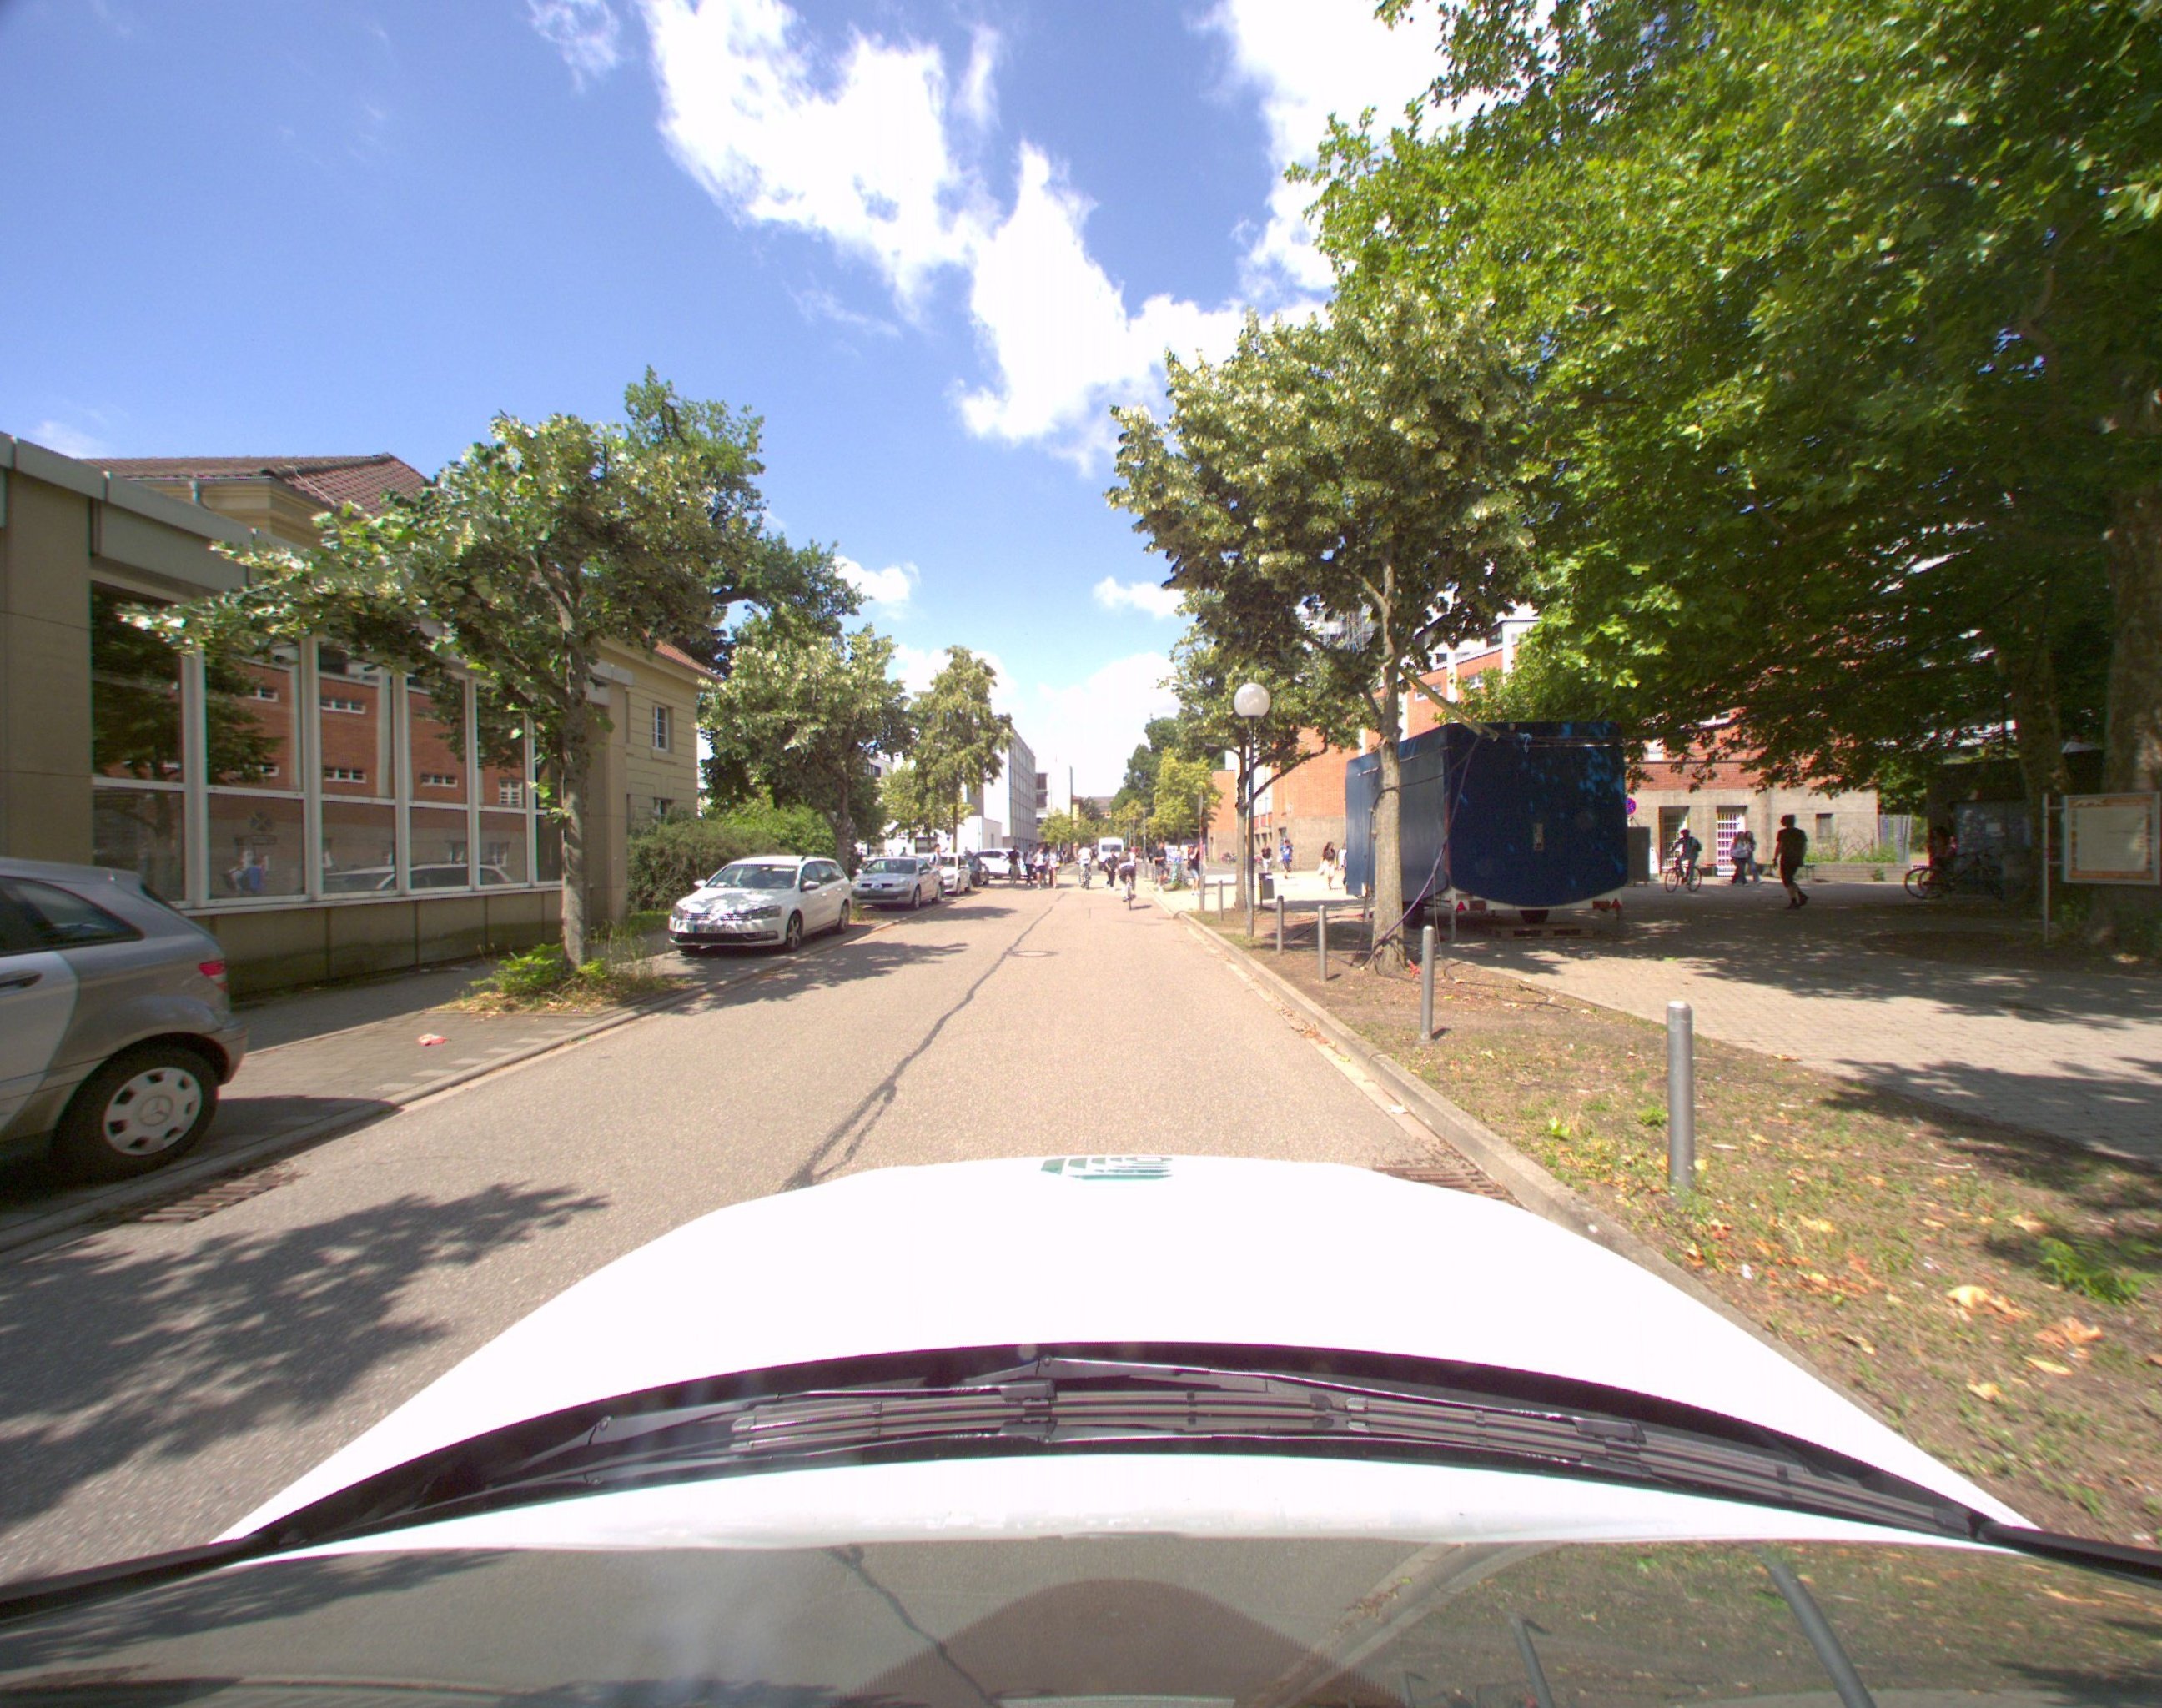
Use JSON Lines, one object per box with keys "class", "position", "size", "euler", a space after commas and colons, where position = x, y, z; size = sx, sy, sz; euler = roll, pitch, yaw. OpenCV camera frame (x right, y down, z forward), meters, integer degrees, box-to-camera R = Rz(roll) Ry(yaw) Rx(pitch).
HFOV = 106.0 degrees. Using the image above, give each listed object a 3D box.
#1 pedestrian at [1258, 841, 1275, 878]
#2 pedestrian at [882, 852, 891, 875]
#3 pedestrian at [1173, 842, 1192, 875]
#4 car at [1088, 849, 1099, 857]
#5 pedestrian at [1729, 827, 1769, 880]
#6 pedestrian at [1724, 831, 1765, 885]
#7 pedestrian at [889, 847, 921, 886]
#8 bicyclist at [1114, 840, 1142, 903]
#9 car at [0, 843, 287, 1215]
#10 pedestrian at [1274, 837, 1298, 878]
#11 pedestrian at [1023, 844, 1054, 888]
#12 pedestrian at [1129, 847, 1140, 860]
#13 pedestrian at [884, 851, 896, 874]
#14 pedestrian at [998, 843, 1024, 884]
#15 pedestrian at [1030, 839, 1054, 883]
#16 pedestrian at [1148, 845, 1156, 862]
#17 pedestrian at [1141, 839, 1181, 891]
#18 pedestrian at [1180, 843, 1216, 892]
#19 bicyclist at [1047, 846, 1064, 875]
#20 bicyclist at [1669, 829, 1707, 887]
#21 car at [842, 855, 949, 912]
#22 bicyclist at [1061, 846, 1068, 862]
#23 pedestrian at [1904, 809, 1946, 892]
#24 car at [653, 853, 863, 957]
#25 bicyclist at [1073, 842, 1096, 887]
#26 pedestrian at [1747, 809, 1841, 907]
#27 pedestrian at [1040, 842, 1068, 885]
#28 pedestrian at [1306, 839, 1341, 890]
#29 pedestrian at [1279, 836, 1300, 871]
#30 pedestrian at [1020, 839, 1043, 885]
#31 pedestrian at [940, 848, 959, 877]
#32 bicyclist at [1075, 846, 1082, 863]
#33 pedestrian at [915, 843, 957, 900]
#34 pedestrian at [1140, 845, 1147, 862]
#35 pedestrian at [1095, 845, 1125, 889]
{"class": "pedestrian", "position": [8.403, 0.248, 36.886], "size": [0.501, 1.630, 0.569], "euler": [-4, 1, -10]}
{"class": "pedestrian", "position": [-14.805, 0.702, 62.022], "size": [0.549, 1.764, 0.586], "euler": [0, 0, 2]}
{"class": "pedestrian", "position": [5.368, 0.242, 43.092], "size": [0.701, 1.694, 0.960], "euler": [-3, 2, -5]}
{"class": "car", "position": [2.523, -0.287, 165.979], "size": [1.786, 1.530, 4.006], "euler": [-1, 0, 6]}
{"class": "pedestrian", "position": [21.013, -0.020, 25.626], "size": [0.657, 1.607, 0.678], "euler": [-2, 0, -14]}
{"class": "pedestrian", "position": [20.274, 0.114, 24.905], "size": [0.657, 1.607, 0.678], "euler": [-2, 0, -14]}
{"class": "pedestrian", "position": [-9.053, 0.642, 41.912], "size": [1.023, 1.904, 1.164], "euler": [6, -5, -43]}
{"class": "bicyclist", "position": [1.297, 0.462, 22.519], "size": [0.714, 1.662, 1.096], "euler": [1, 1, 3]}
{"class": "car", "position": [-5.405, 0.730, 2.561], "size": [1.752, 1.556, 4.112], "euler": [1, 0, 0]}
{"class": "pedestrian", "position": [9.335, 0.141, 37.112], "size": [0.708, 1.787, 0.750], "euler": [-4, 1, -11]}
{"class": "pedestrian", "position": [-1.742, 0.480, 33.202], "size": [0.971, 1.739, 0.705], "euler": [-4, -2, 42]}
{"class": "pedestrian", "position": [8.464, -0.060, 129.063], "size": [1.495, 1.996, 1.646], "euler": [-4, 1, 0]}
{"class": "pedestrian", "position": [-14.698, 0.684, 62.665], "size": [0.690, 1.749, 0.637], "euler": [0, 0, 2]}
{"class": "pedestrian", "position": [-3.121, 0.421, 36.247], "size": [0.794, 1.772, 0.859], "euler": [1, 0, 25]}
{"class": "pedestrian", "position": [-1.762, 0.312, 36.886], "size": [0.819, 1.980, 0.695], "euler": [1, 0, 24]}
{"class": "pedestrian", "position": [7.884, -0.105, 90.903], "size": [0.787, 1.860, 1.026], "euler": [-1, 0, 3]}
{"class": "pedestrian", "position": [3.003, 0.397, 30.543], "size": [1.102, 1.859, 0.860], "euler": [-1, 3, 43]}
{"class": "pedestrian", "position": [4.008, 0.457, 27.835], "size": [0.855, 1.595, 0.820], "euler": [-3, 1, -42]}
{"class": "bicyclist", "position": [-1.577, 0.407, 50.960], "size": [0.815, 1.756, 0.684], "euler": [0, -1, -44]}
{"class": "bicyclist", "position": [16.965, 0.103, 22.766], "size": [0.660, 1.607, 0.616], "euler": [-1, 0, -27]}
{"class": "car", "position": [-4.921, 0.725, 22.202], "size": [1.718, 1.343, 4.169], "euler": [1, 0, 3]}
{"class": "bicyclist", "position": [-1.641, -0.037, 83.320], "size": [0.641, 1.601, 0.909], "euler": [-2, 0, 0]}
{"class": "pedestrian", "position": [19.472, -0.085, 18.793], "size": [0.444, 1.883, 0.531], "euler": [-1, 0, 12]}
{"class": "car", "position": [-5.177, 0.716, 13.807], "size": [1.720, 1.456, 4.582], "euler": [1, 0, 0]}
{"class": "bicyclist", "position": [0.148, 0.434, 33.442], "size": [0.769, 1.756, 0.847], "euler": [-5, 0, -3]}
{"class": "pedestrian", "position": [13.477, 0.055, 15.422], "size": [0.957, 1.775, 0.917], "euler": [-2, 1, -7]}
{"class": "pedestrian", "position": [-1.122, 0.393, 33.695], "size": [0.897, 1.739, 0.683], "euler": [-1, 0, 40]}
{"class": "pedestrian", "position": [8.389, 0.352, 28.210], "size": [0.872, 1.637, 0.949], "euler": [-4, 4, 1]}
{"class": "pedestrian", "position": [11.142, -0.036, 43.532], "size": [0.787, 1.860, 1.116], "euler": [-1, 0, 0]}
{"class": "pedestrian", "position": [-2.186, 0.360, 35.922], "size": [0.620, 1.980, 0.821], "euler": [-1, -1, -30]}
{"class": "pedestrian", "position": [-8.021, 0.511, 49.721], "size": [0.979, 1.785, 0.669], "euler": [-1, -1, 0]}
{"class": "bicyclist", "position": [-0.253, 0.060, 84.151], "size": [0.665, 1.681, 0.992], "euler": [-2, 0, -2]}
{"class": "pedestrian", "position": [-4.501, 0.529, 25.339], "size": [1.101, 1.716, 0.710], "euler": [2, -1, 0]}
{"class": "pedestrian", "position": [6.964, -0.073, 90.916], "size": [0.787, 1.860, 1.244], "euler": [-1, 0, 3]}
{"class": "pedestrian", "position": [1.176, 0.507, 32.688], "size": [0.981, 1.719, 0.708], "euler": [2, 4, 43]}
